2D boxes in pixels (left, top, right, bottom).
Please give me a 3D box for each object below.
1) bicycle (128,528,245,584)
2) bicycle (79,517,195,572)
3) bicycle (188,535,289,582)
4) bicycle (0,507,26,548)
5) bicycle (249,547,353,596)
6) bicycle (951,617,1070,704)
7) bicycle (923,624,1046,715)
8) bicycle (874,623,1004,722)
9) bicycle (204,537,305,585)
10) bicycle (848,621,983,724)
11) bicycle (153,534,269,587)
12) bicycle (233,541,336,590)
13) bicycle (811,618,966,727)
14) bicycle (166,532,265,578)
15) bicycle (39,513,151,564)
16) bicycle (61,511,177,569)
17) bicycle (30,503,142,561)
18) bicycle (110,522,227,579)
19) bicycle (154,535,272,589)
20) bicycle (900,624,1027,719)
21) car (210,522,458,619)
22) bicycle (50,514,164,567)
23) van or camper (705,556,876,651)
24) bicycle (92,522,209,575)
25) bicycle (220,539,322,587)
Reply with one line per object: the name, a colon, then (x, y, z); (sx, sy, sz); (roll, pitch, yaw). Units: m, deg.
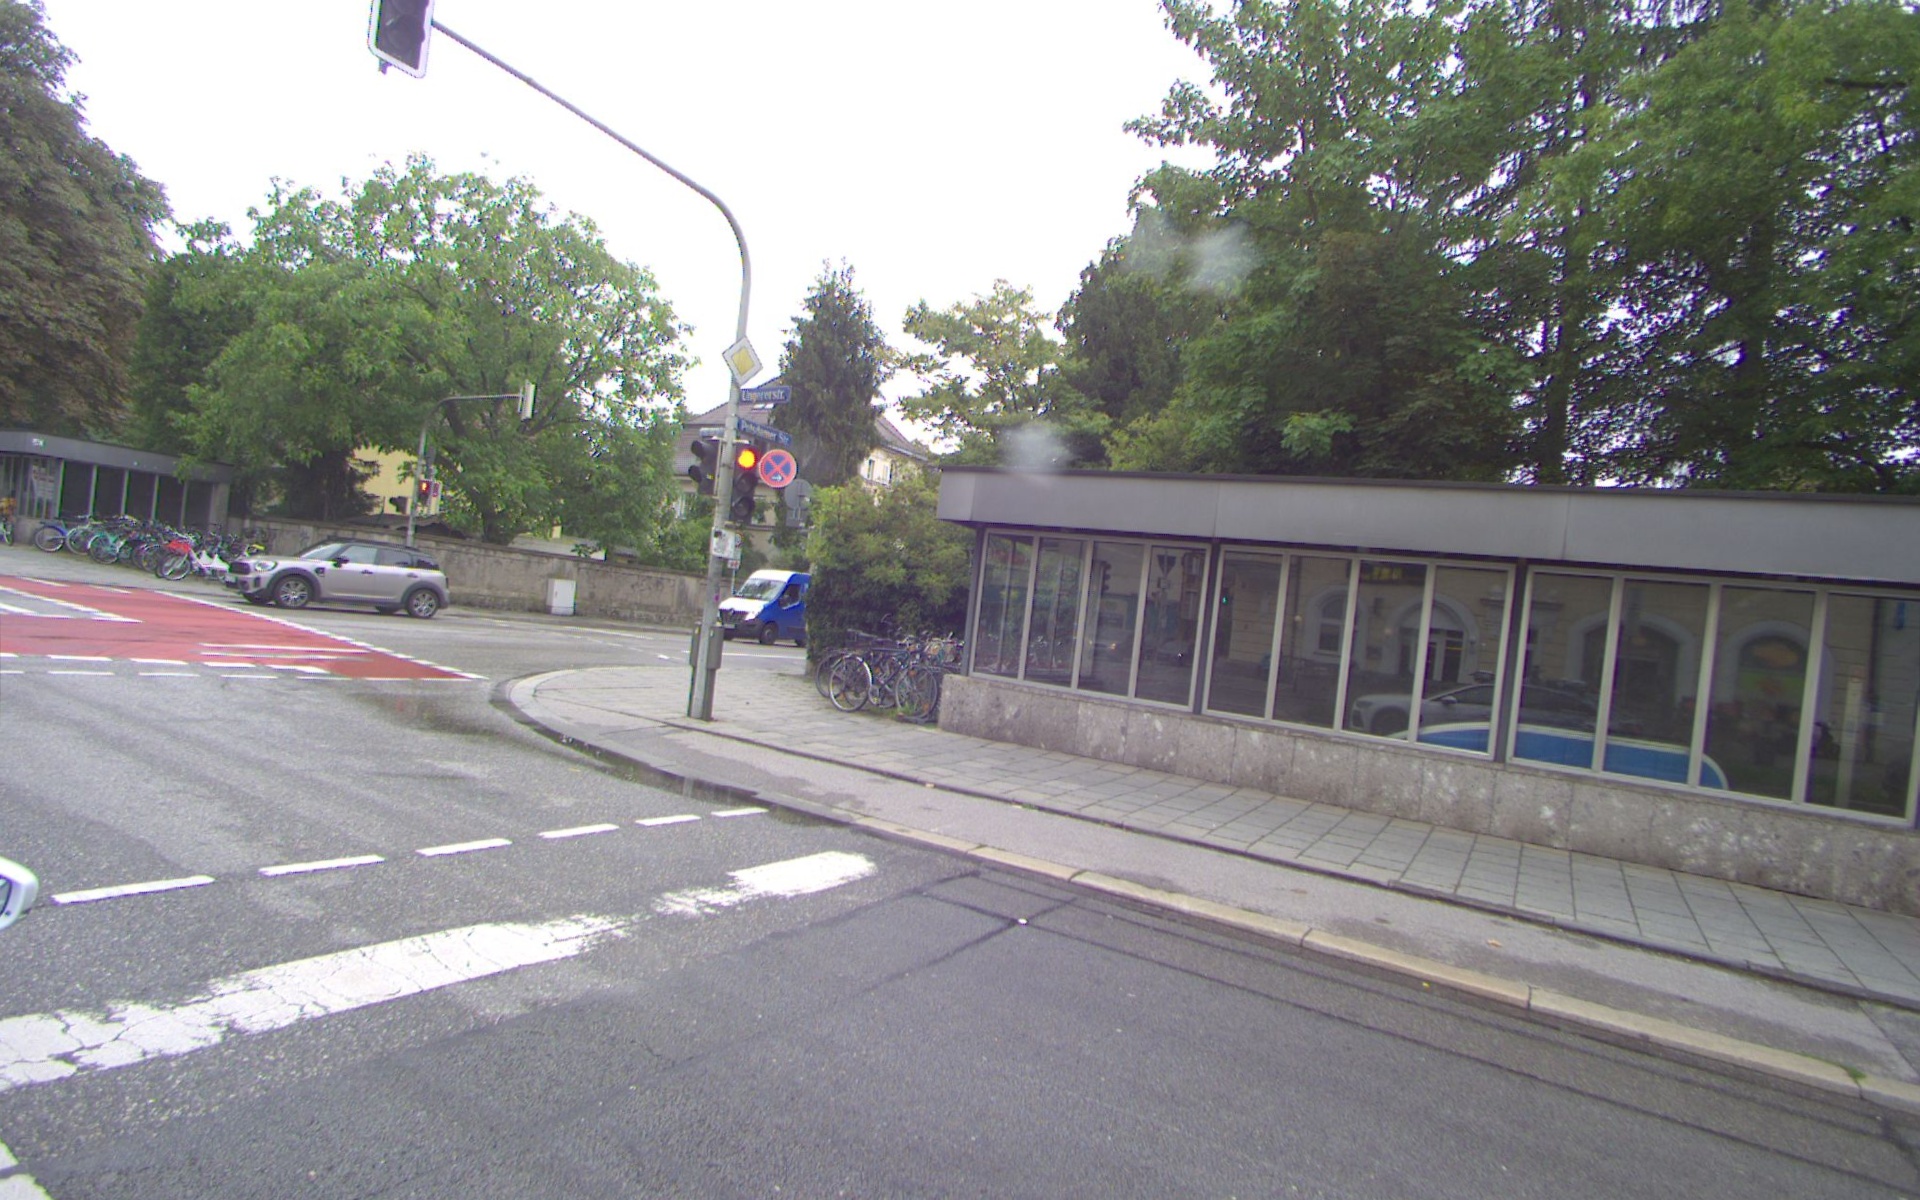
bicycle: (-19.116, -1.071, 24.904); (0.594, 1.084, 2.141); (7, 0, 39)
bicycle: (-21.010, -1.396, 25.721); (0.594, 1.099, 2.141); (7, 0, 39)
bicycle: (-20.164, -1.147, 28.174); (0.625, 1.026, 2.141); (7, -1, 39)
bicycle: (-26.309, -2.039, 27.458); (1.981, 1.027, 0.557); (7, 0, 30)
bicycle: (-17.465, -0.742, 26.711); (0.625, 1.026, 2.141); (7, -1, 39)
bicycle: (0.762, 0.920, 15.494); (1.707, 1.135, 0.469); (6, 0, 32)
bicycle: (0.345, 1.010, 14.847); (1.707, 1.135, 0.469); (6, 0, 32)
bicycle: (-0.304, 0.975, 13.784); (1.707, 1.135, 0.469); (6, 0, 32)
bicycle: (-19.483, -1.070, 27.816); (0.625, 1.026, 2.141); (7, -1, 39)
bicycle: (-0.600, 0.943, 13.286); (1.707, 1.135, 0.469); (6, 0, 32)
bicycle: (-18.335, -0.952, 24.679); (0.625, 1.026, 2.141); (7, -1, 39)
bicycle: (-18.143, -0.920, 27.077); (0.625, 1.026, 2.141); (7, -1, 39)
bicycle: (-0.923, 0.897, 12.715); (1.858, 1.135, 0.600); (6, 0, 32)
bicycle: (-21.452, -1.280, 29.038); (0.625, 1.026, 2.141); (7, -1, 39)
bicycle: (-23.010, -1.628, 26.803); (0.594, 1.026, 2.141); (7, -1, 39)
bicycle: (-21.686, -1.525, 25.989); (0.594, 1.192, 2.141); (7, 0, 39)
bicycle: (-23.579, -1.814, 27.191); (0.594, 1.233, 2.141); (7, 0, 39)
bicycle: (-19.724, -1.216, 25.123); (0.594, 1.114, 2.141); (7, 0, 39)
bicycle: (-17.919, -0.897, 24.187); (0.594, 1.026, 2.141); (7, -1, 39)
bicycle: (0.035, 1.007, 14.332); (1.707, 1.135, 0.469); (6, 0, 32)
car: (-13.471, -0.581, 21.886); (1.668, 1.532, 4.171); (7, -1, 34)
bicycle: (-22.293, -1.533, 26.325); (0.594, 1.075, 2.141); (7, 0, 39)
van or camper: (-5.470, 0.187, 33.323); (2.034, 2.499, 5.555); (7, -1, 35)
bicycle: (-20.386, -1.288, 25.380); (0.594, 1.026, 2.141); (7, -1, 39)
bicycle: (-18.780, -0.987, 27.477); (0.625, 1.026, 2.141); (7, -1, 39)
